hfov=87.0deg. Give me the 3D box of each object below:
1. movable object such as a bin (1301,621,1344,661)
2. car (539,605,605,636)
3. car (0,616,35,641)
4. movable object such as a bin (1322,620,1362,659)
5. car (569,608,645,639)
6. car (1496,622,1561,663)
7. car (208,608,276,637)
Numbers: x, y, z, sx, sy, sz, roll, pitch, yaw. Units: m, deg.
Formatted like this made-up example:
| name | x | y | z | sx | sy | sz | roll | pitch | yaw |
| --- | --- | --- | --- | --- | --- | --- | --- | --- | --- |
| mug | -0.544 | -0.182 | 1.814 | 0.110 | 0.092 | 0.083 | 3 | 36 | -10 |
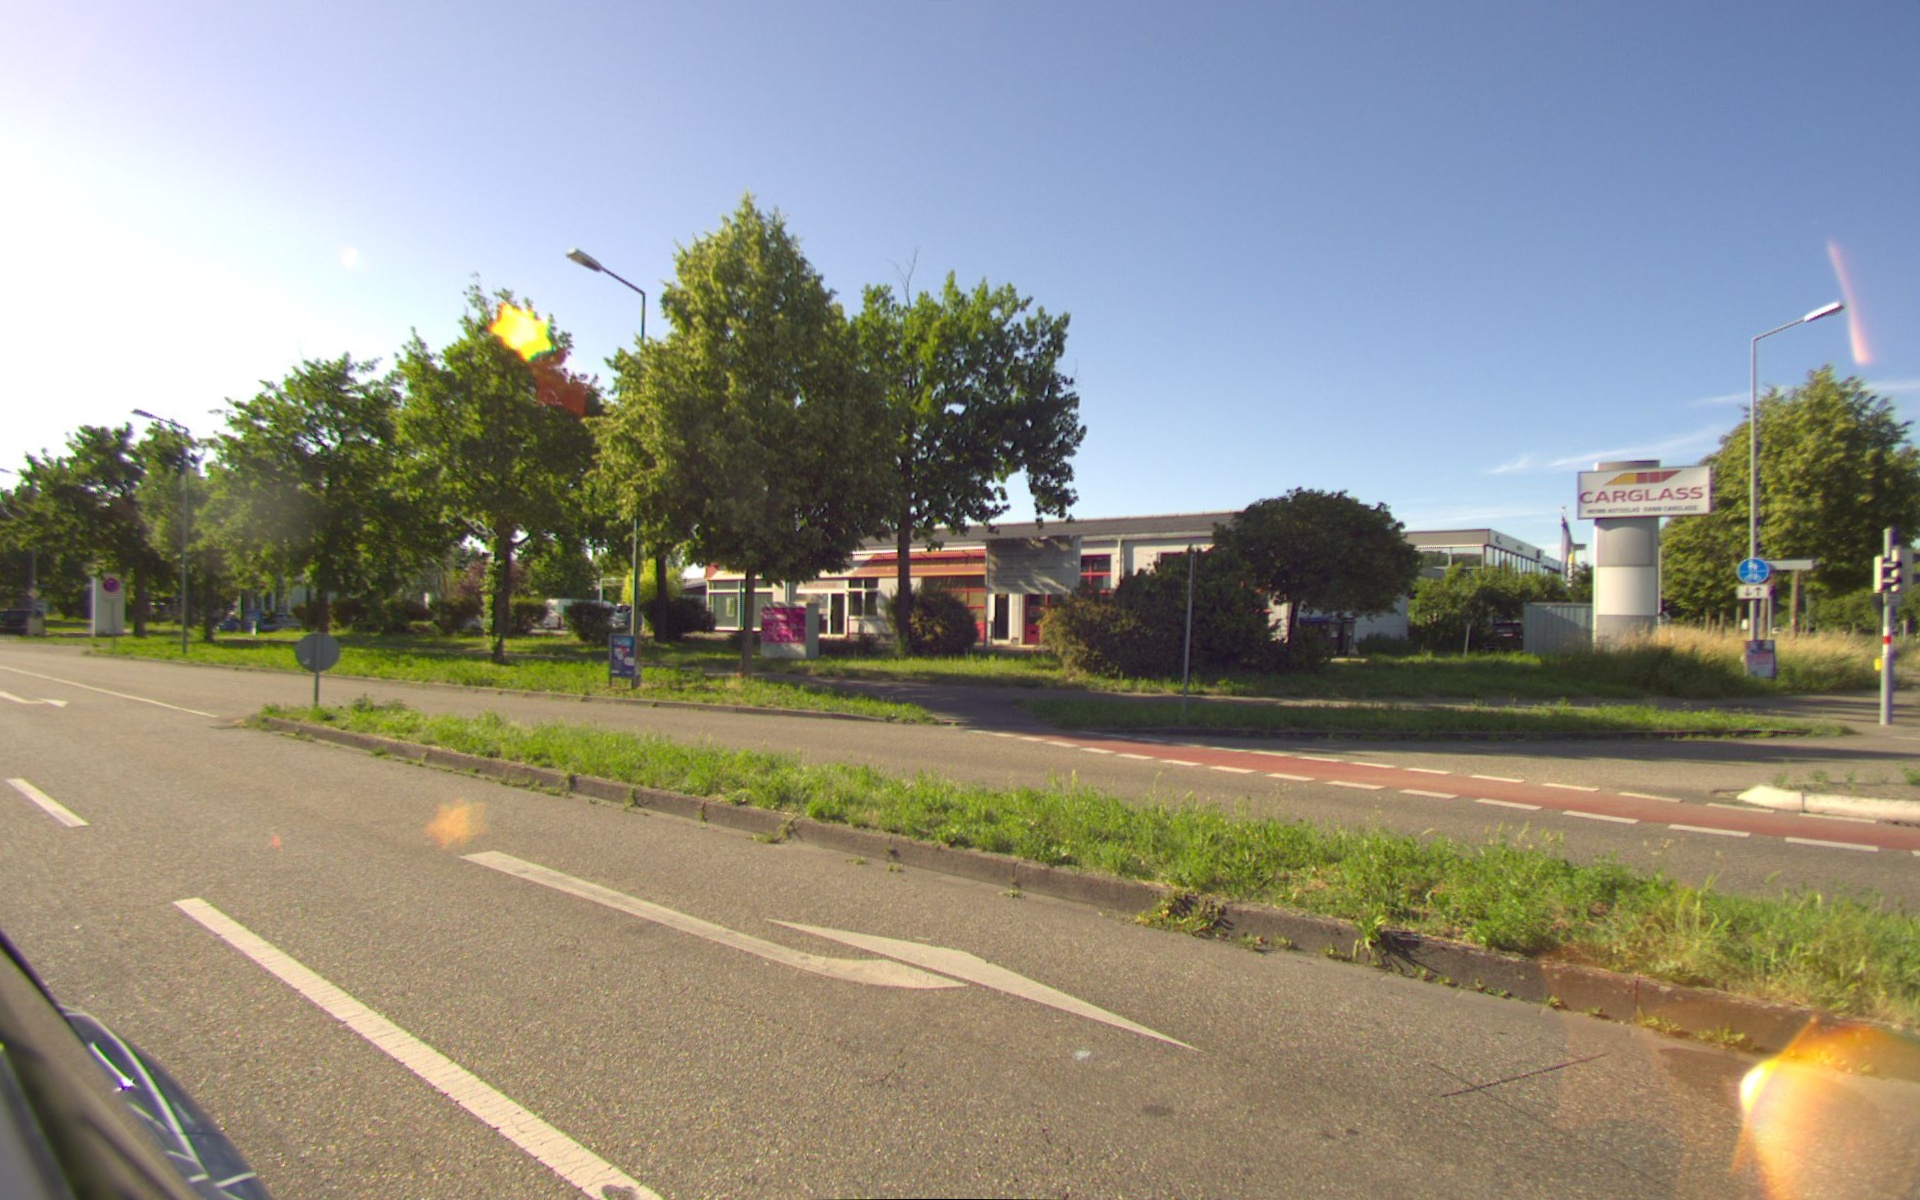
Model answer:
| name | x | y | z | sx | sy | sz | roll | pitch | yaw |
| --- | --- | --- | --- | --- | --- | --- | --- | --- | --- |
| movable object such as a bin | 11.974 | 1.344 | 33.421 | 0.992 | 1.308 | 1.116 | -1 | -2 | 40 |
| car | -28.444 | 1.526 | 74.278 | 1.775 | 2.234 | 4.161 | -1 | -2 | 38 |
| car | -59.606 | 1.749 | 62.114 | 4.152 | 1.497 | 1.779 | 1 | -2 | -45 |
| movable object such as a bin | 13.182 | 1.348 | 34.949 | 0.992 | 1.308 | 1.116 | -1 | -2 | 40 |
| car | -23.623 | 1.536 | 67.794 | 1.998 | 1.960 | 4.428 | -1 | 0 | 44 |
| car | 26.781 | 1.973 | 47.609 | 1.998 | 1.741 | 3.947 | -1 | 0 | 39 |
| car | -53.099 | 1.632 | 74.891 | 3.938 | 2.029 | 2.003 | -1 | 0 | -41 |
